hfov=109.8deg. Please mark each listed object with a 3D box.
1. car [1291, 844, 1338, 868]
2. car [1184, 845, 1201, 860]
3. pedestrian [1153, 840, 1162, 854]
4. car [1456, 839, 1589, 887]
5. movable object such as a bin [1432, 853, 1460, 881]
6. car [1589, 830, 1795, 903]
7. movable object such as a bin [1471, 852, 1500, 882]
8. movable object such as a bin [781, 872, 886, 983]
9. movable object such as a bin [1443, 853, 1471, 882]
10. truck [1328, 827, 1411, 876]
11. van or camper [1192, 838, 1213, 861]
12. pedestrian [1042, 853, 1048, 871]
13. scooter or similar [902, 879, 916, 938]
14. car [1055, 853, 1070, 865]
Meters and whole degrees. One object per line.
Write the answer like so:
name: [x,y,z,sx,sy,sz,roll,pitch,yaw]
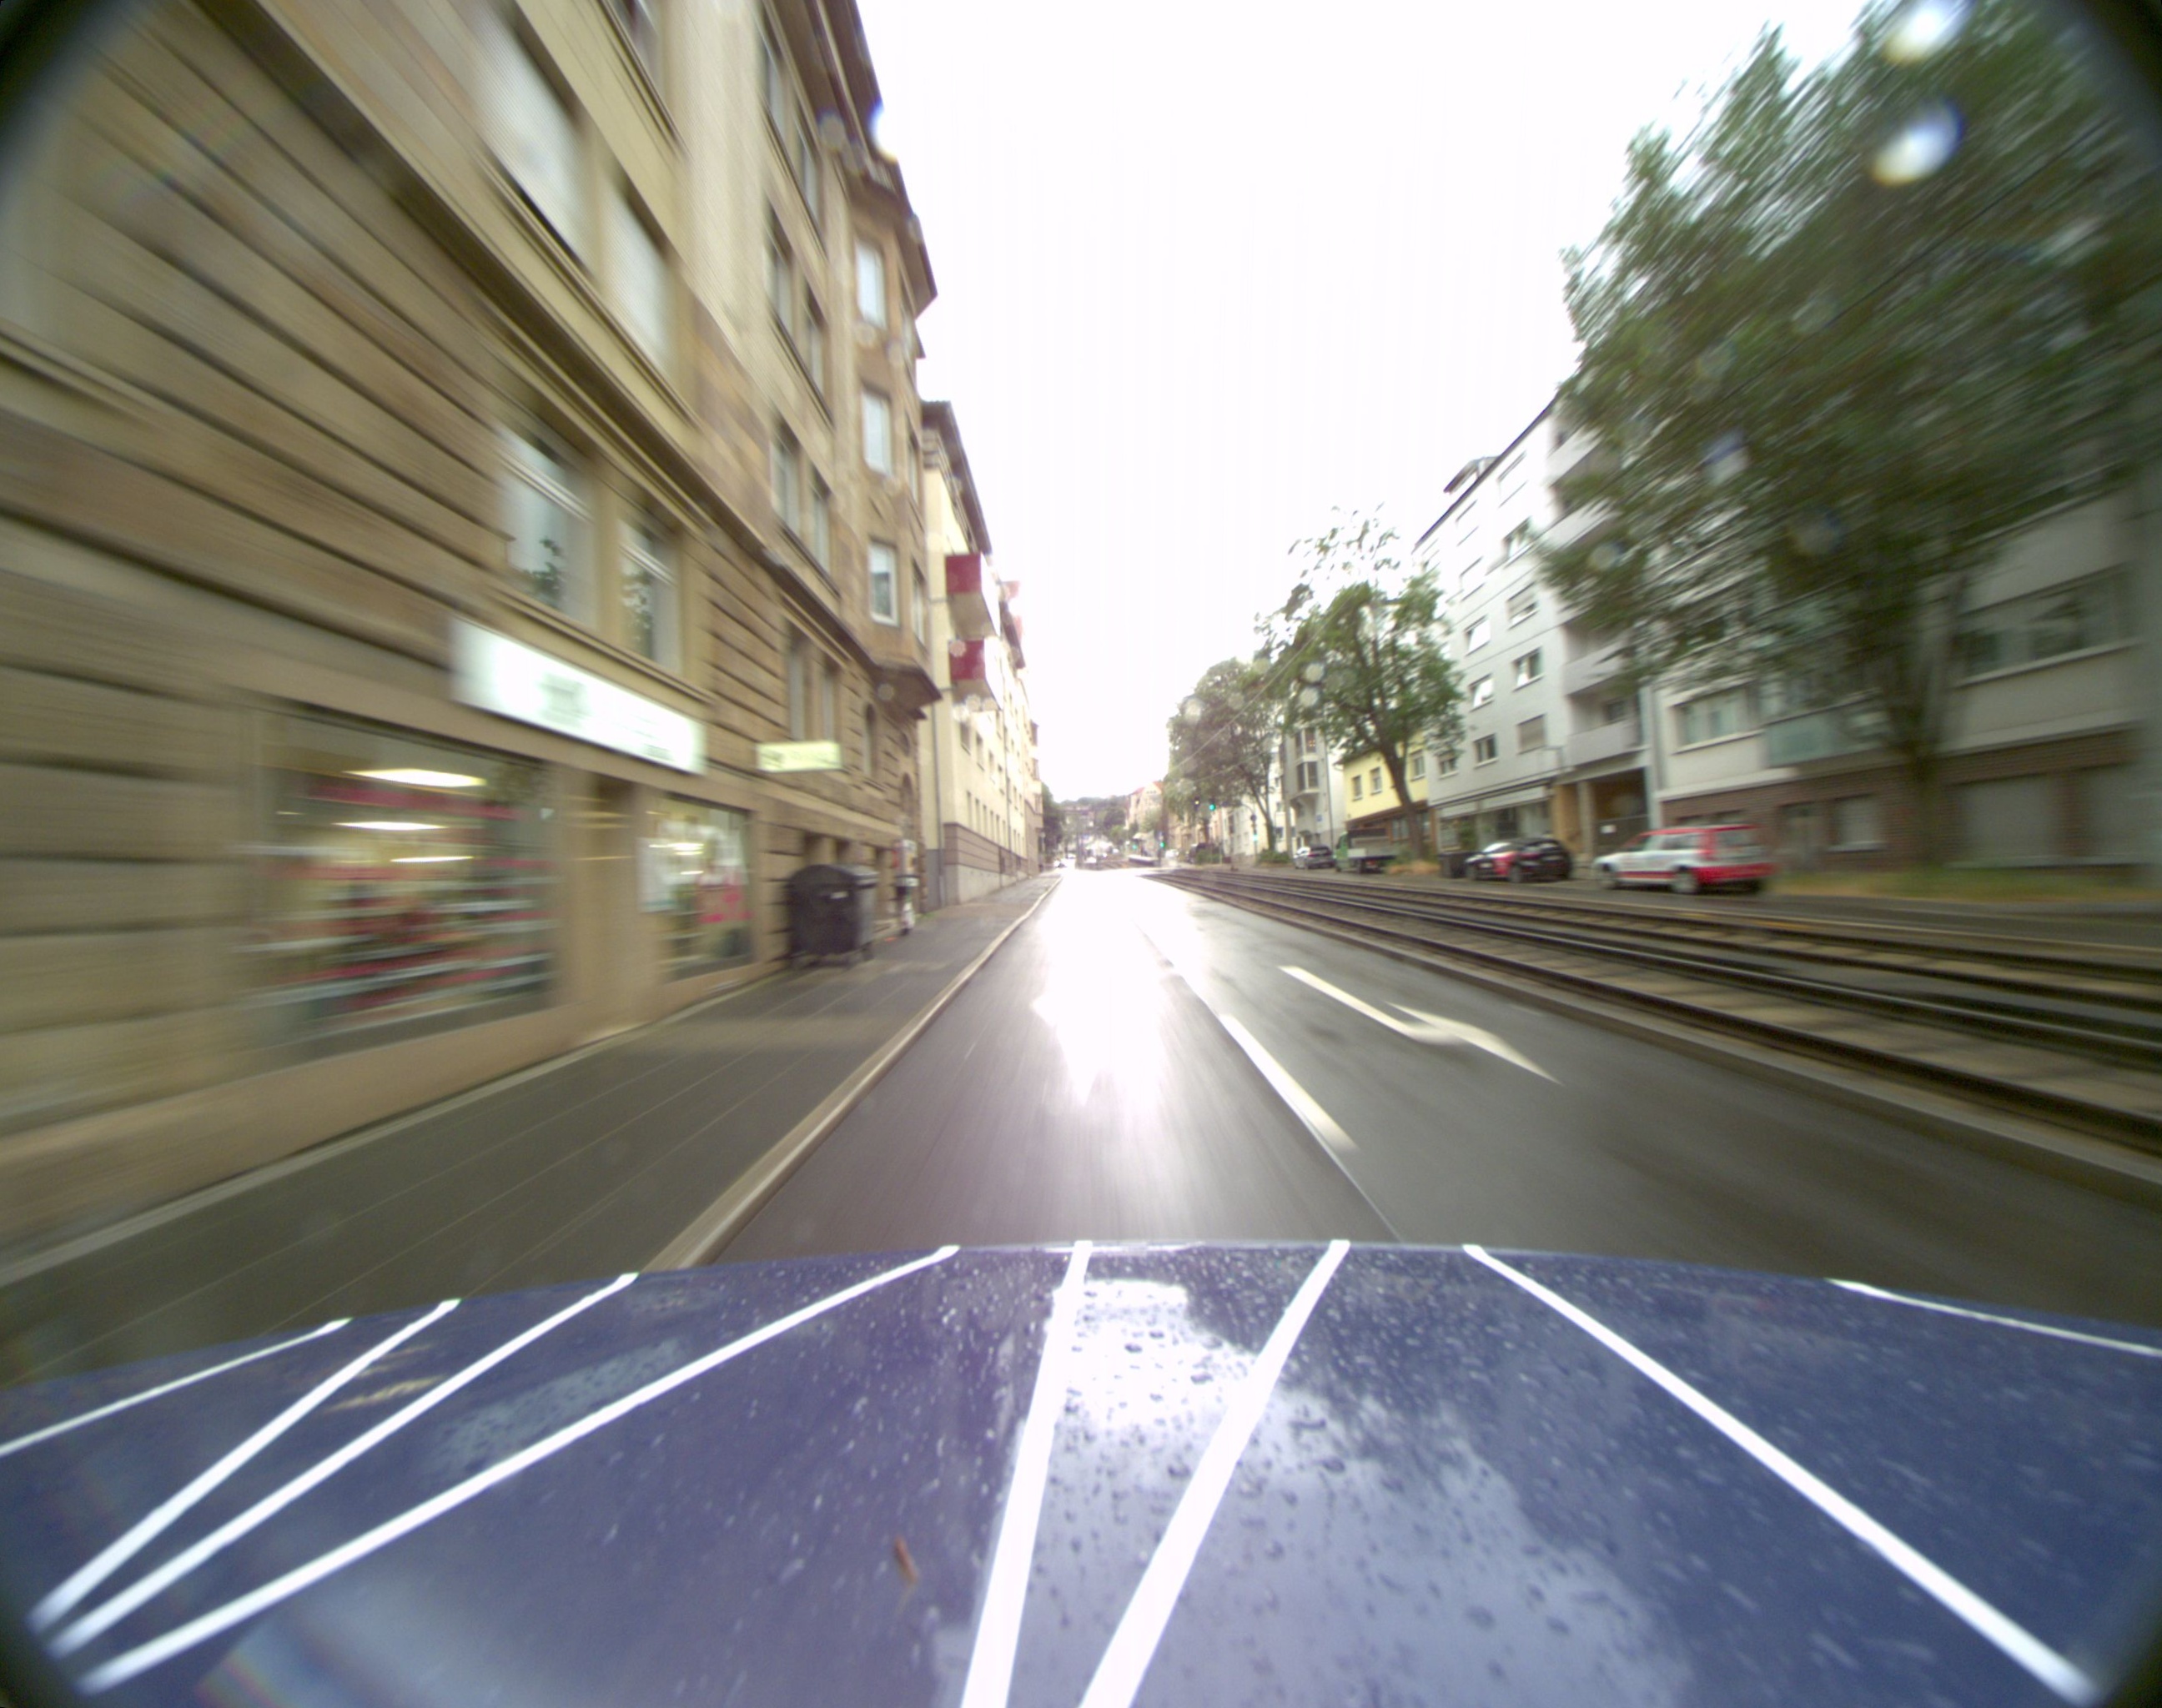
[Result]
car: [15.400,0.130,50.299,1.709,1.451,4.360,-4,0,1]
car: [15.845,-0.156,108.200,1.998,2.002,4.000,-2,0,2]
pedestrian: [10.417,-0.927,103.636,1.120,1.772,0.965,-2,1,0]
car: [15.072,0.284,26.265,1.911,1.431,4.469,-2,0,-1]
movable object such as a bin: [14.634,0.512,30.464,0.727,1.115,0.671,-2,0,-5]
car: [15.010,0.281,19.011,1.781,1.560,4.158,-2,0,0]
movable object such as a bin: [15.505,0.494,29.134,0.727,1.115,0.671,-2,0,-5]
movable object such as a bin: [-3.474,0.991,10.824,1.011,1.443,1.393,0,0,1]
movable object such as a bin: [14.734,0.514,29.801,0.727,1.115,0.671,-2,0,-5]
truck: [15.161,-0.187,40.439,2.197,2.332,6.352,-2,1,2]
van or camper: [15.774,-0.584,98.753,1.998,2.782,5.212,-2,1,1]
pedestrian: [-3.911,0.904,82.252,0.547,1.904,0.604,-2,0,-2]
scooter or similar: [-3.489,1.086,15.418,0.210,1.105,0.890,-1,2,-9]
car: [-2.723,0.698,112.557,1.999,1.652,3.999,-2,0,-1]
